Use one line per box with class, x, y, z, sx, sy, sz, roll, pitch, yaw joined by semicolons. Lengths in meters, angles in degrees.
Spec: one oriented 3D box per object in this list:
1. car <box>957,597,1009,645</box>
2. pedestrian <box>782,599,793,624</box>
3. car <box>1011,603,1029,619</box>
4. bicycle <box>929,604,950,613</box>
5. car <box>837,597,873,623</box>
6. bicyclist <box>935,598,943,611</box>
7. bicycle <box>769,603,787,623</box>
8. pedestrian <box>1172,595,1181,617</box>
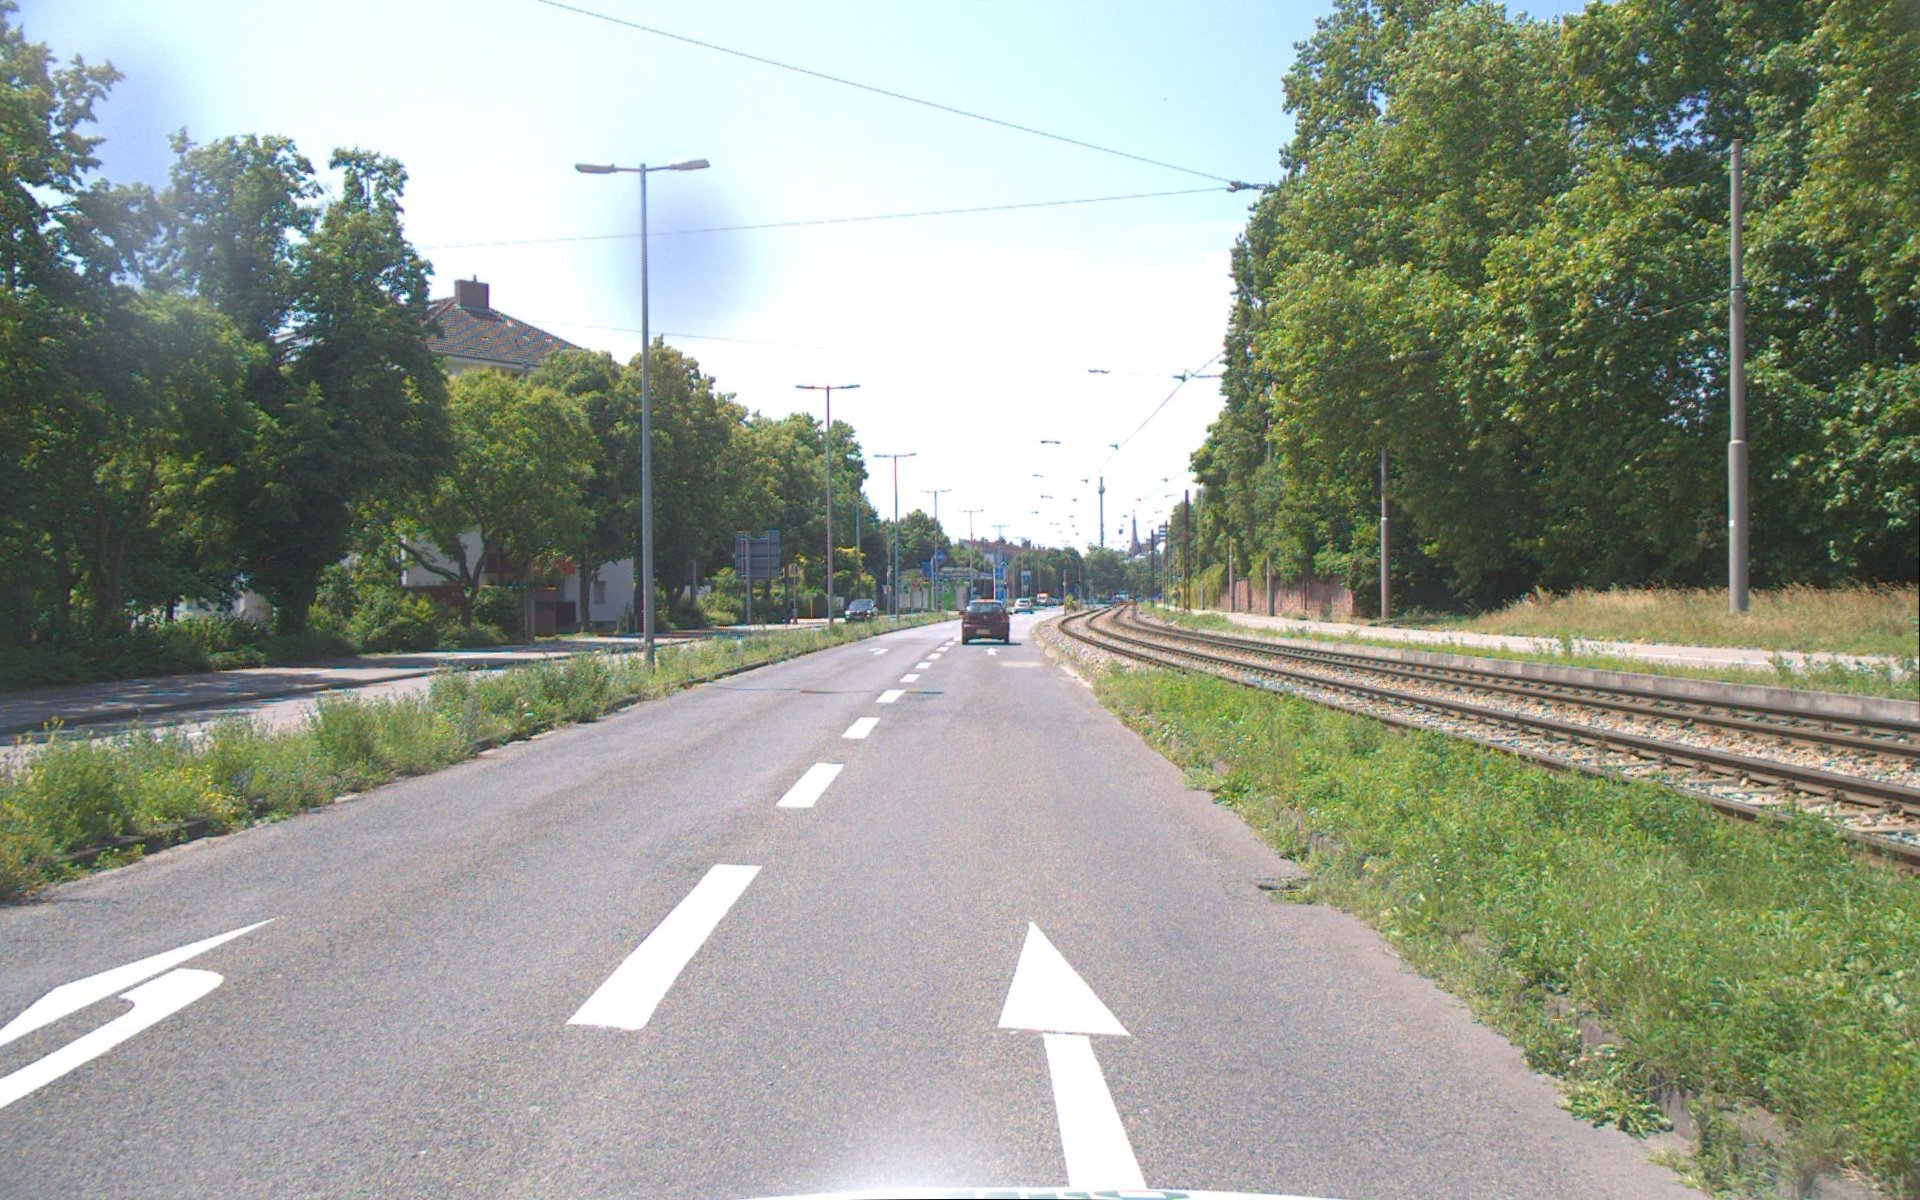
car;0.783;0.715;55.927;1.668;1.503;3.716;2;-1;1
pedestrian;-12.102;0.828;115.768;0.538;1.748;0.604;-1;0;18
car;6.020;1.132;166.318;1.668;1.506;3.716;2;-1;1
bicycle;-2.551;1.013;203.442;2.502;1.056;1.085;1;-1;-8
car;-6.977;0.661;110.118;1.883;1.654;4.757;-2;-1;2
bicyclist;-2.597;0.533;203.472;0.926;1.621;1.086;1;-1;-8
bicycle;-12.726;0.876;115.698;0.632;1.351;1.574;-2;0;18
pedestrian;16.927;0.476;129.503;0.647;1.756;0.817;-1;0;5
